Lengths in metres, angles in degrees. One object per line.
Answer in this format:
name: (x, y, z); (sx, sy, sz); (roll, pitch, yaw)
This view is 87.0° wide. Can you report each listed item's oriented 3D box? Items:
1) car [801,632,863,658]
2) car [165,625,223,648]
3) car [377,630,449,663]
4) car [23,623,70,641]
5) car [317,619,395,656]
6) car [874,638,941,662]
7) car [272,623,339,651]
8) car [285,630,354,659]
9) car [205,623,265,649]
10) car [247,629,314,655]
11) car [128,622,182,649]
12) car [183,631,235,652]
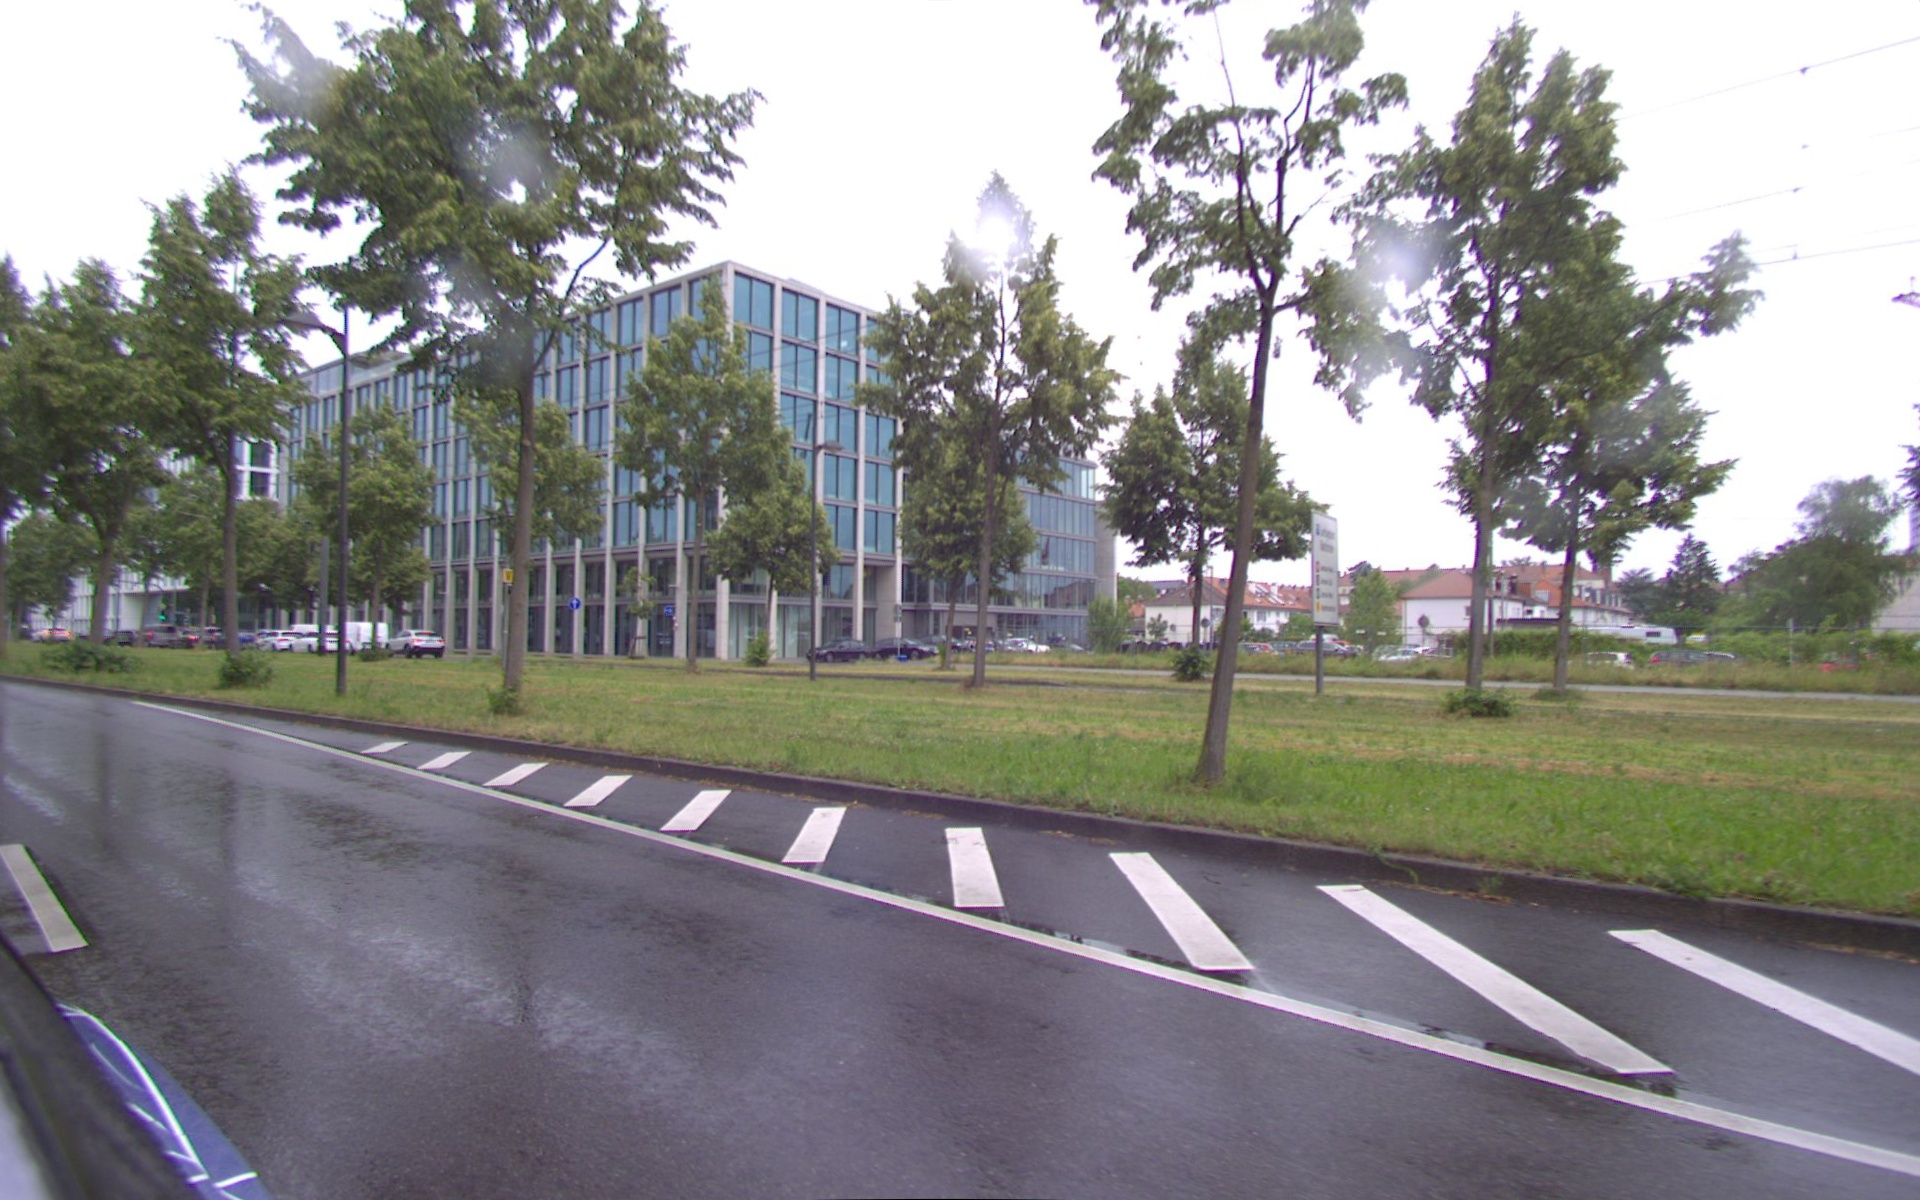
car: (-8.143, 2.884, 64.710); (1.743, 1.621, 3.750); (-4, -5, 40)
car: (-52.479, 2.506, 69.317); (4.595, 1.396, 1.933); (-4, -4, 36)
car: (-30.361, 2.545, 56.094); (4.572, 1.762, 1.931); (-1, -3, 40)
car: (-72.924, 2.552, 80.763); (4.567, 1.463, 1.933); (-1, -2, 37)
car: (-36.571, 2.327, 61.222); (5.364, 2.022, 2.246); (-4, -4, 38)
car: (-2.910, 2.757, 55.630); (3.656, 1.249, 1.485); (-4, -5, 40)
car: (-42.797, 2.432, 66.140); (5.017, 1.664, 1.934); (-4, -4, 35)
car: (-36.113, 2.504, 56.984); (4.827, 1.472, 1.931); (-4, -5, 40)
car: (-46.503, 2.301, 64.892); (3.952, 1.506, 1.934); (-4, -4, 35)
car: (-40.964, 2.524, 60.952); (4.567, 1.525, 1.933); (-1, -2, 37)
car: (-59.147, 2.614, 74.310); (4.534, 1.863, 1.933); (-3, -4, 36)
car: (-57.384, 3.176, 77.319); (4.261, 1.396, 1.934); (-4, -4, 35)
